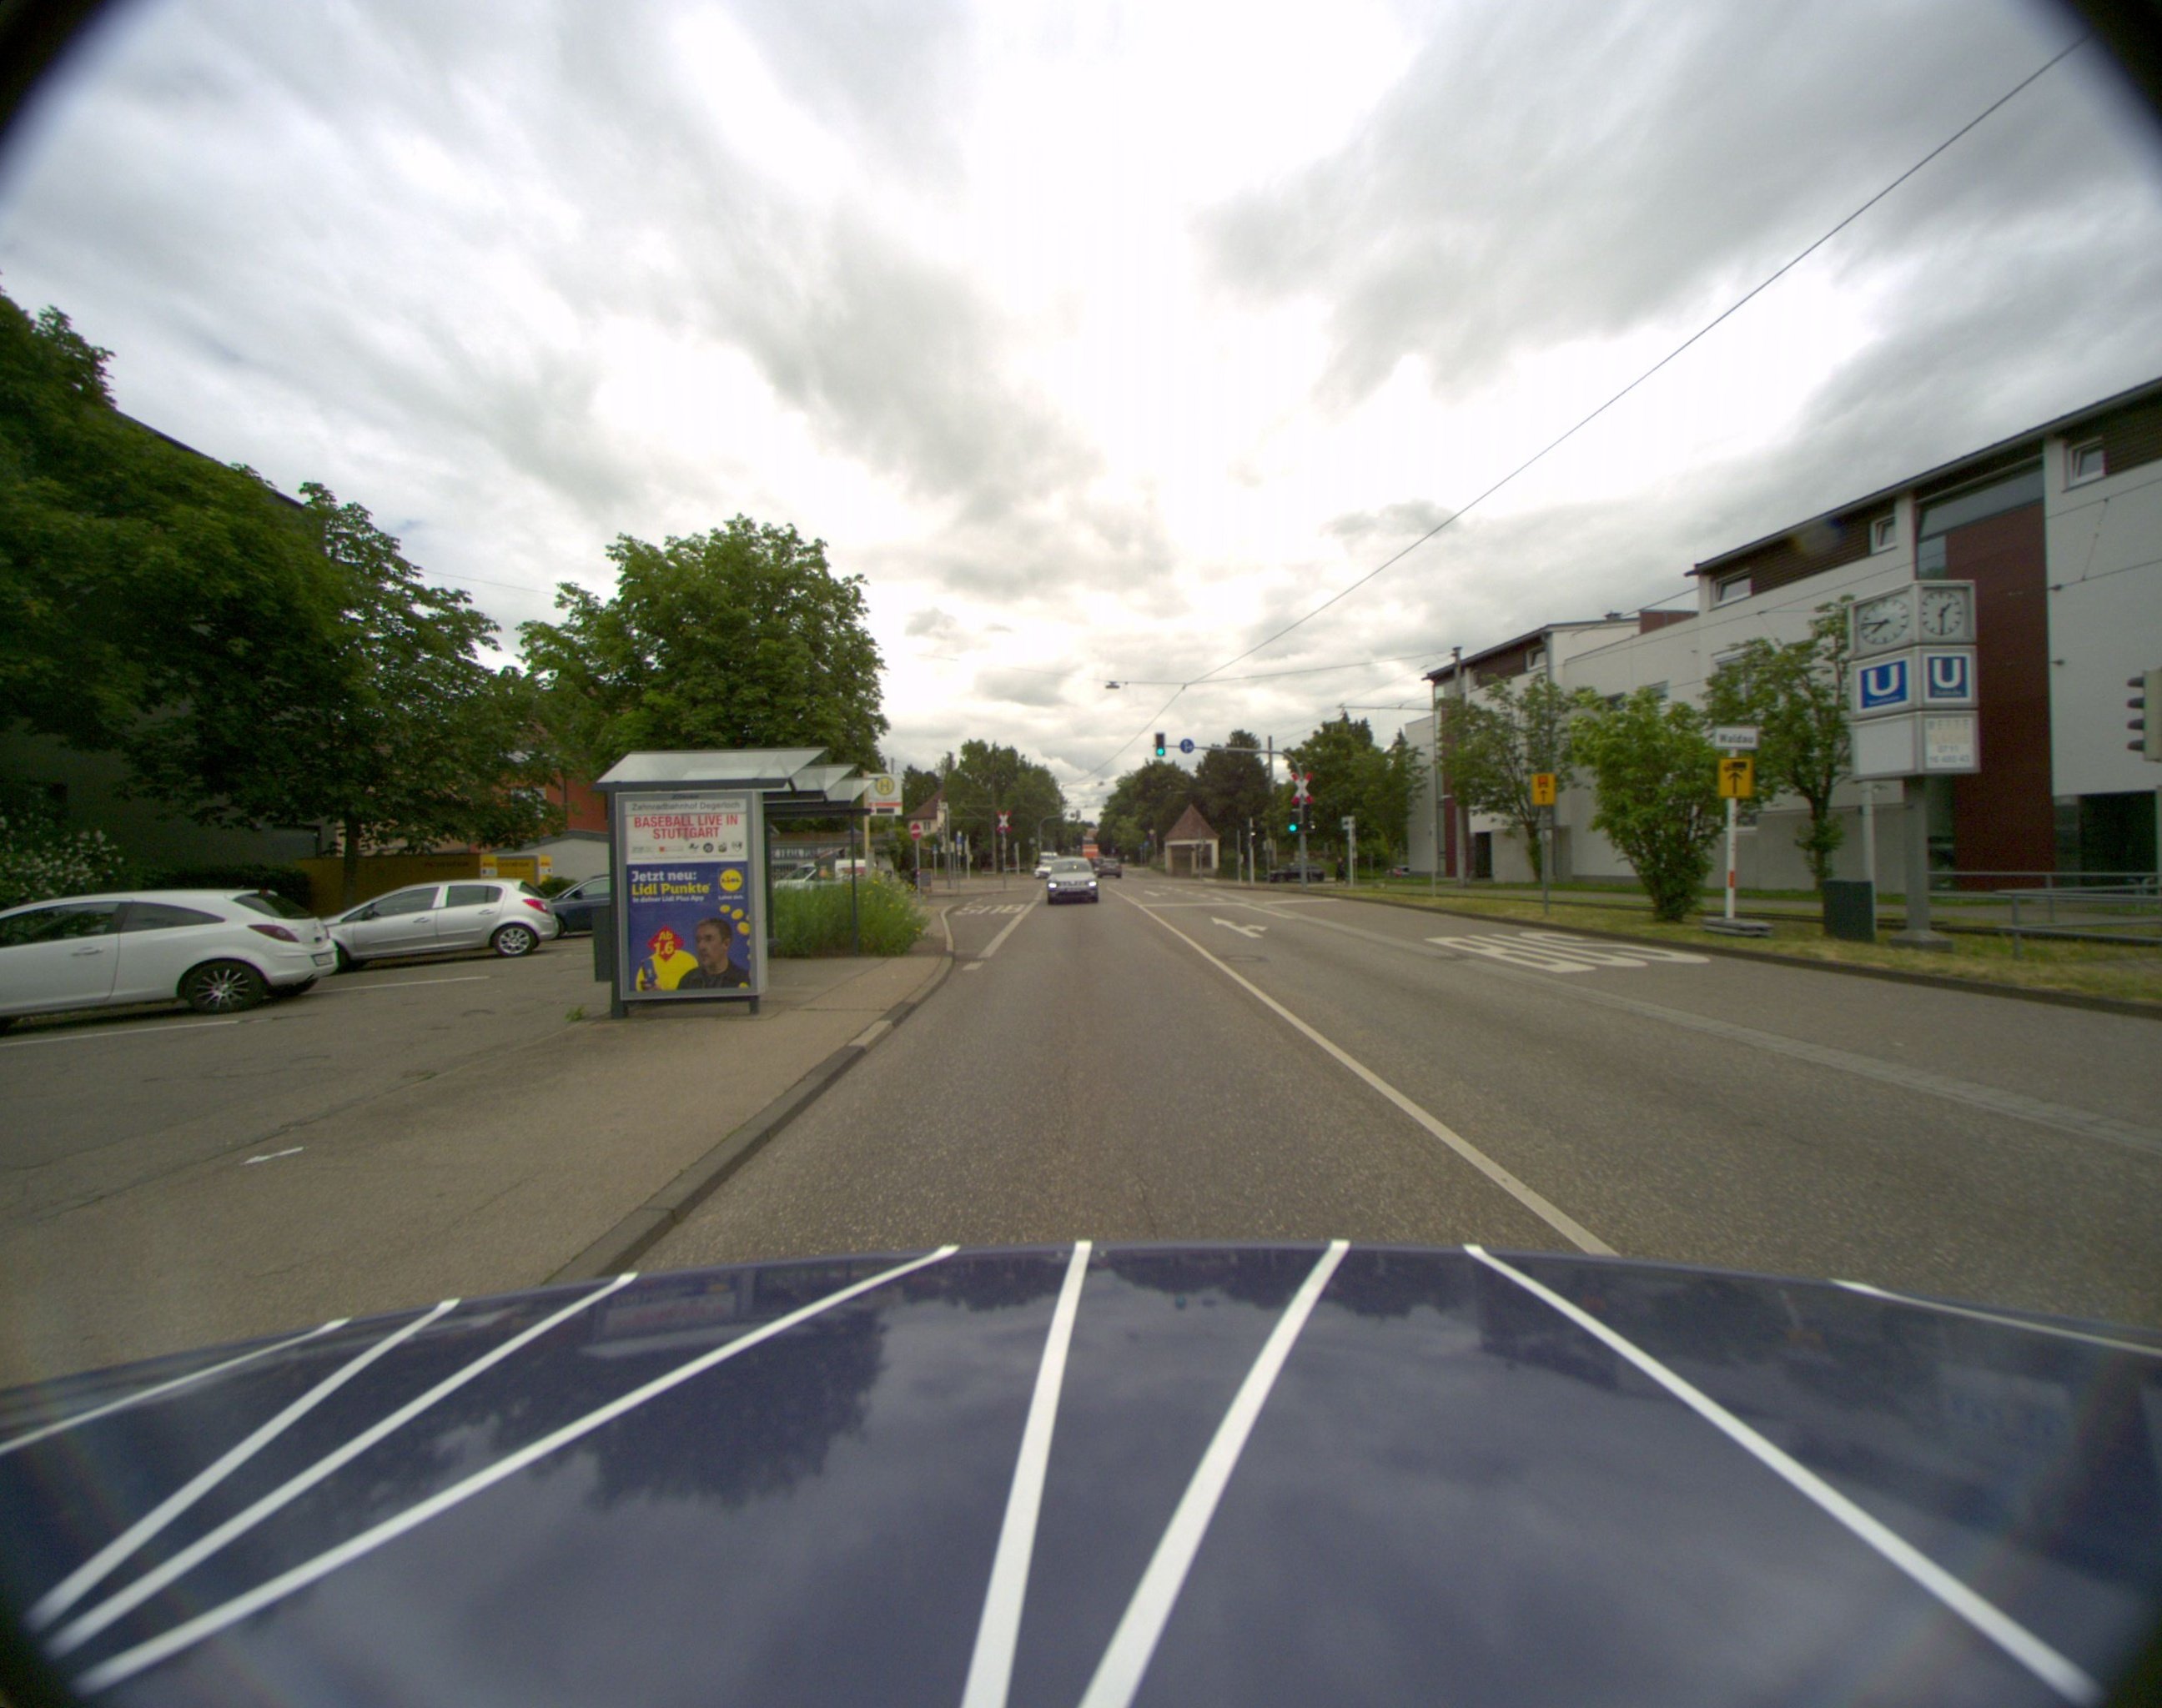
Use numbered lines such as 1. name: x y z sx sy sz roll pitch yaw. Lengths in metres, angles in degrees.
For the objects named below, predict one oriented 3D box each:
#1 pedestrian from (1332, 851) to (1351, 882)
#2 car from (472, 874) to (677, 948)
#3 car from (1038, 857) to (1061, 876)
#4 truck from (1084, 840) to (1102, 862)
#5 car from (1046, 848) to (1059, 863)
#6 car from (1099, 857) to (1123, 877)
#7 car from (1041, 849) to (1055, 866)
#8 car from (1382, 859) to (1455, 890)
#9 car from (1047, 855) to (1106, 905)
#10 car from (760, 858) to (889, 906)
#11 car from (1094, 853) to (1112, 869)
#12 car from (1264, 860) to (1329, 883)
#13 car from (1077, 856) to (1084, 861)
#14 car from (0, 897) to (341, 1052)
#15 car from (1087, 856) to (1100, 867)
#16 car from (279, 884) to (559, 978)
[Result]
1. pedestrian: 13.981 0.684 40.837 0.677 1.634 0.819 0 -2 -6
2. car: -12.354 1.313 18.796 4.006 1.468 1.875 -2 0 -32
3. car: -2.712 1.020 65.364 1.915 1.527 4.655 -1 0 -3
4. truck: 2.046 -0.521 133.019 2.776 3.697 8.466 1 0 -2
5. car: -5.068 0.233 135.710 2.046 2.588 5.966 -1 0 -1
6. car: 2.447 1.027 62.926 1.744 1.550 4.183 -1 0 -1
7. car: -5.103 0.491 118.286 2.095 2.589 6.679 -1 0 -3
8. car: 24.732 1.486 55.792 4.469 2.002 1.999 2 0 -7
9. car: -0.260 0.904 28.460 1.835 1.610 4.486 -3 1 -4
10. car: -10.331 1.075 30.962 1.846 1.738 4.705 -1 0 37
11. car: 2.511 0.834 87.891 1.835 1.660 4.487 -5 0 -1
12. car: 16.977 1.348 60.053 4.488 1.660 1.964 2 0 -8
13. car: -0.140 1.183 201.186 1.944 1.522 4.525 1 0 0
14. car: -11.121 1.290 8.571 3.656 1.427 1.588 0 1 -27
15. car: 1.811 1.084 109.517 1.679 1.497 3.732 1 0 -2
16. car: -11.499 1.280 13.518 3.523 1.369 1.544 -1 -2 -31
